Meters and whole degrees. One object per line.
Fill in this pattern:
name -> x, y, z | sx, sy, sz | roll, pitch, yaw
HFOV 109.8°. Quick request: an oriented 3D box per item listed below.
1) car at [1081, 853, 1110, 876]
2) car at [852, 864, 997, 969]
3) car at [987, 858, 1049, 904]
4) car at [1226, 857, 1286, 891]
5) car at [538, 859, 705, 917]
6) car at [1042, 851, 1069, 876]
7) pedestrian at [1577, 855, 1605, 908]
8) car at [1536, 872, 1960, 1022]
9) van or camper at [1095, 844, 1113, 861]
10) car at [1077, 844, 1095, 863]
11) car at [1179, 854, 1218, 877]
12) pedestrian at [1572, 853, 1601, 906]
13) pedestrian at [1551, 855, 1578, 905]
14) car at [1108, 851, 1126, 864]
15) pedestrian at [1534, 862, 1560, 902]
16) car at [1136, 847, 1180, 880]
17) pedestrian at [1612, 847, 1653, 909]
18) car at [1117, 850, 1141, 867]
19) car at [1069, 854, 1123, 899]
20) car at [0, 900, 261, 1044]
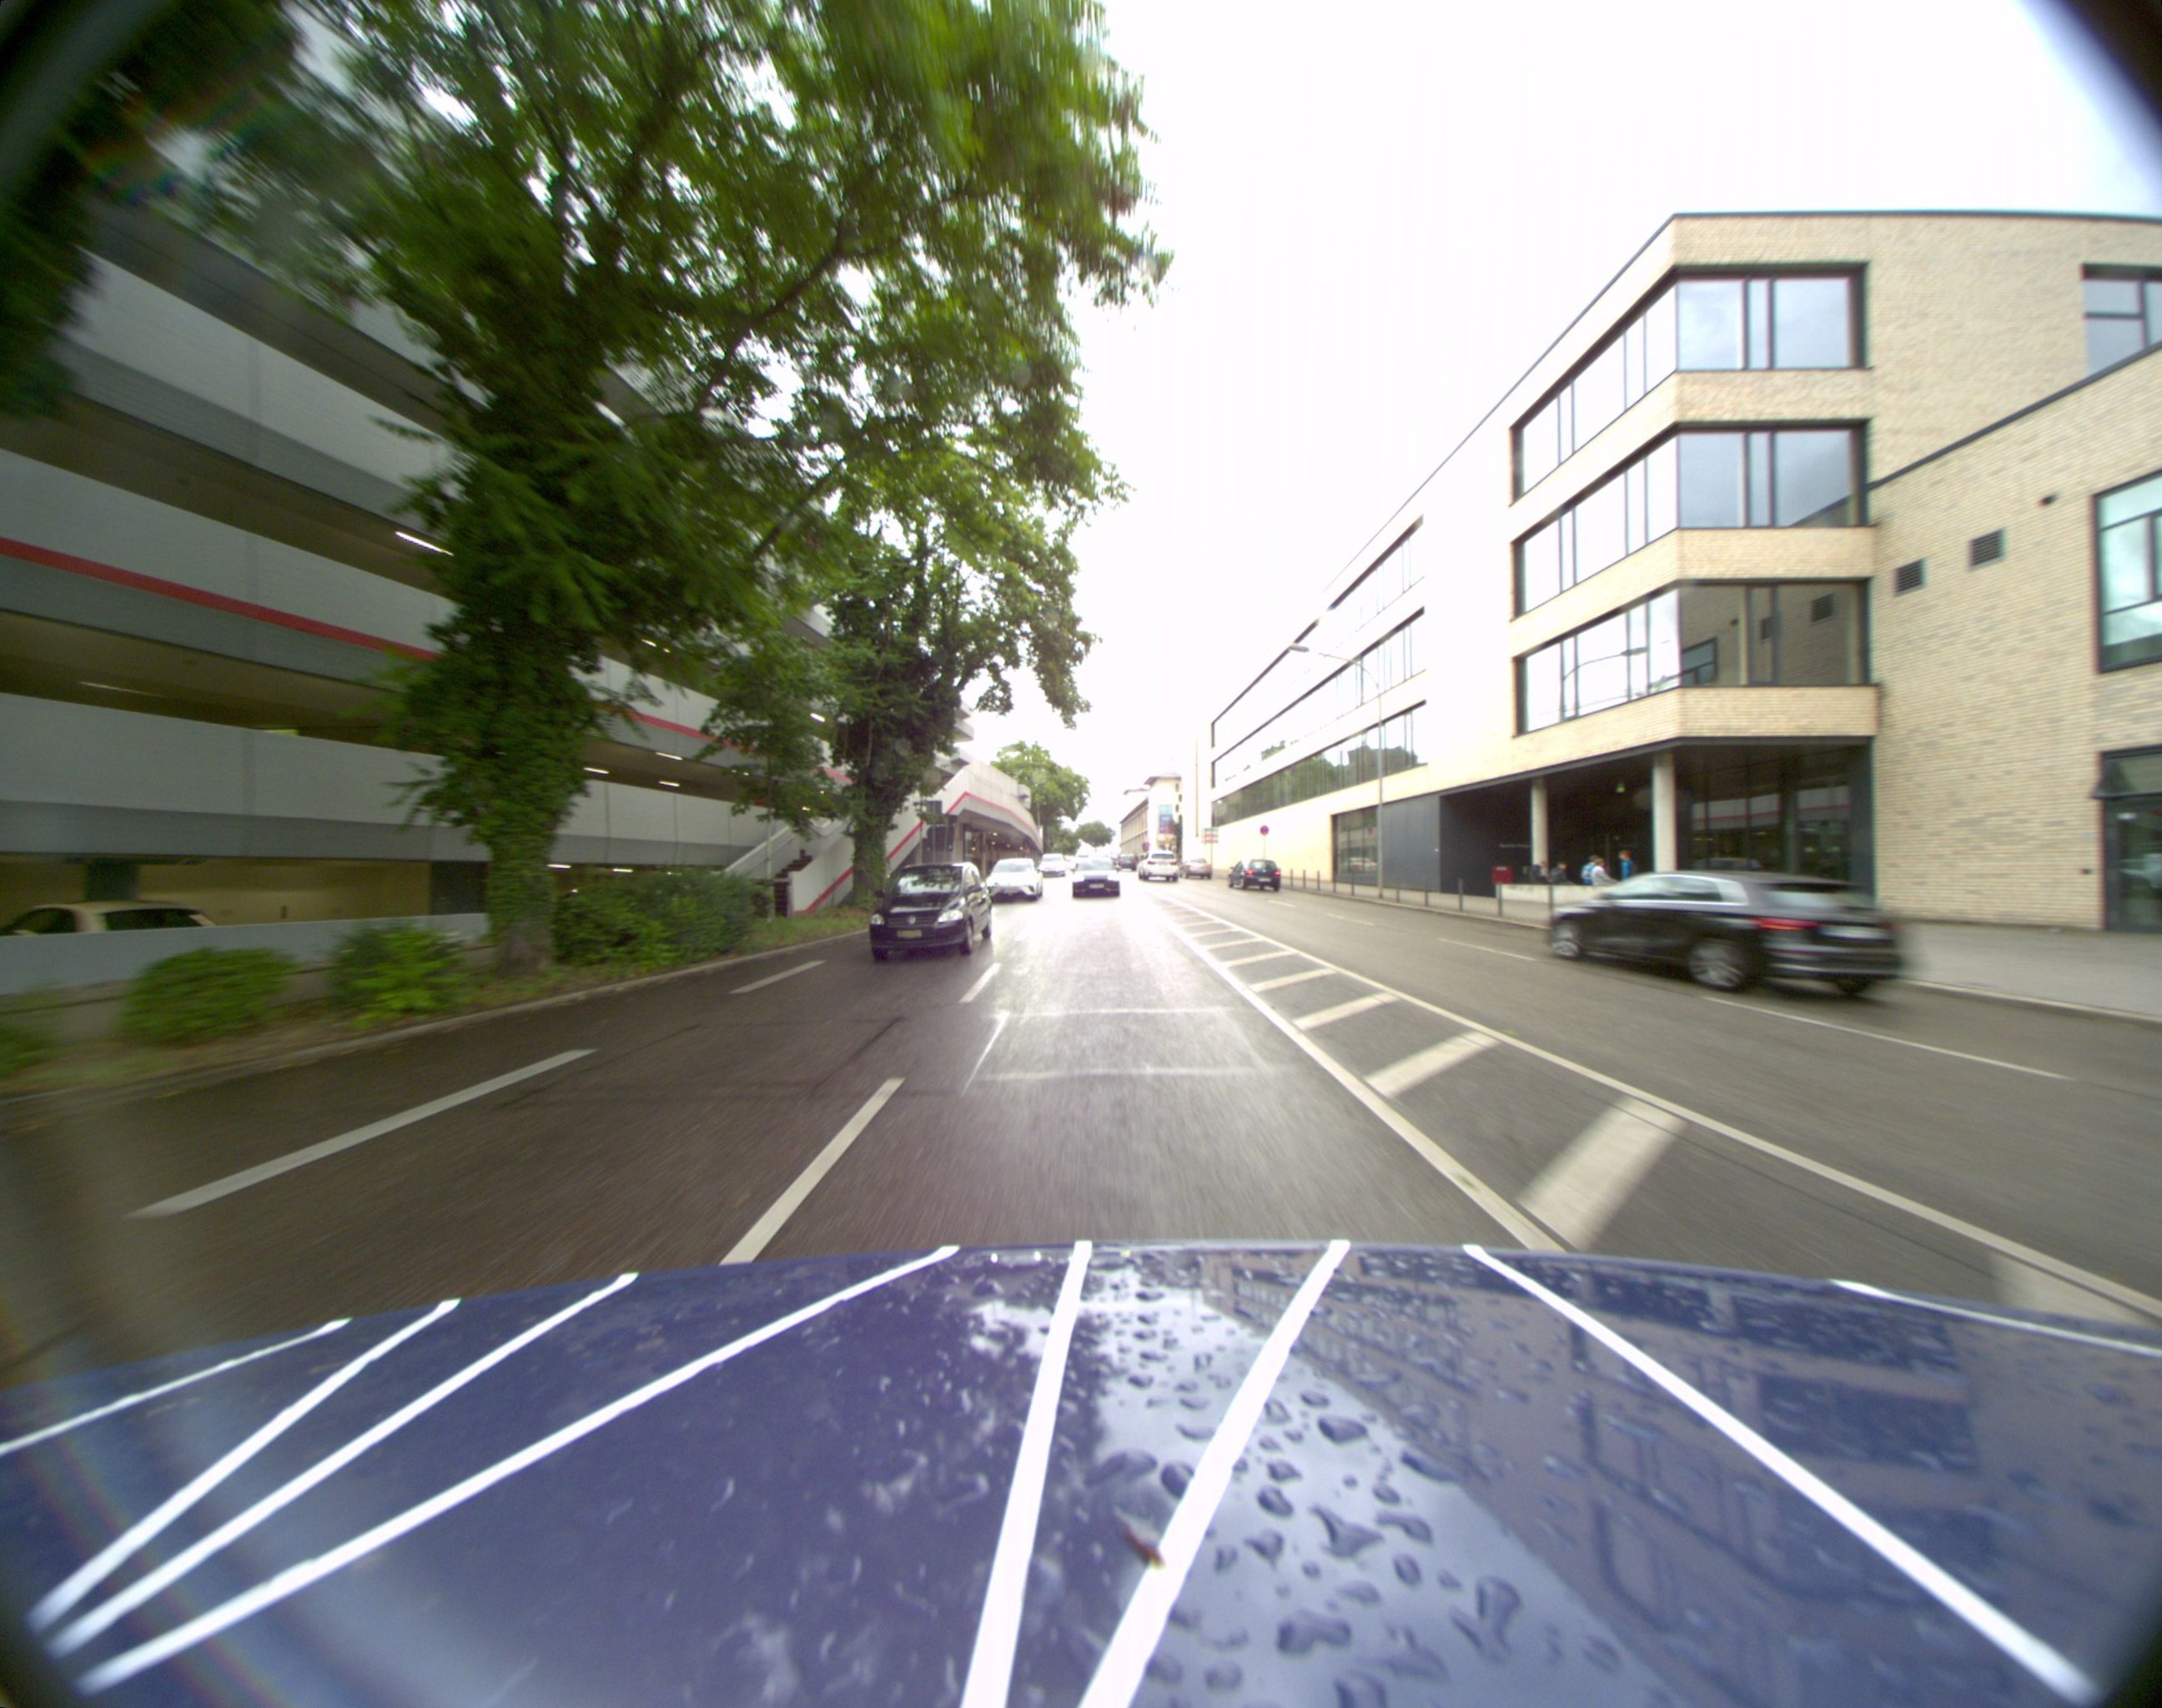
car -> 1.093, 0.714, 55.867 | 1.998, 1.477, 4.000 | -2, 1, 2
car -> -2.630, 0.992, 13.679 | 1.683, 1.516, 3.990 | -2, 0, 1
car -> -2.278, 0.941, 28.313 | 1.915, 1.443, 4.036 | -2, 1, 0
car -> 8.066, 0.899, 35.308 | 1.750, 1.404, 3.970 | 2, 0, -1
car -> -13.111, 0.990, 21.805 | 3.740, 1.530, 1.812 | -1, -3, 6
car -> -1.817, 0.645, 55.332 | 1.727, 1.628, 3.999 | -2, 1, 1
pedestrian -> 14.502, 0.783, 21.615 | 0.450, 1.467, 0.463 | -2, 2, -4
car -> 8.159, 1.013, 9.956 | 1.737, 1.386, 4.198 | 2, 0, -2
van or camper -> 3.702, -0.246, 122.572 | 2.108, 2.567, 5.903 | 1, 1, -7
car -> 0.552, -0.103, 87.556 | 1.998, 2.002, 3.999 | -2, 1, 0
car -> 7.867, 0.744, 51.222 | 1.834, 1.380, 4.229 | 2, 0, -1
pedestrian -> 14.500, 0.728, 21.800 | 0.442, 1.467, 0.528 | -2, 2, -4
pedestrian -> 14.400, 0.764, 22.634 | 0.450, 1.467, 0.463 | -2, 2, -4
car -> 4.421, 0.371, 93.138 | 1.888, 1.489, 4.561 | 1, 1, -2
pedestrian -> 14.423, 0.858, 23.518 | 0.550, 1.208, 0.422 | -2, 2, 3
car -> 4.459, 0.508, 44.533 | 1.896, 1.801, 4.573 | 2, 0, -2
pedestrian -> 15.633, 0.654, 21.553 | 0.636, 1.704, 0.705 | -2, 1, 0
car -> 4.433, 0.359, 70.562 | 1.816, 1.454, 4.287 | 2, 1, -2
car -> 0.555, 0.794, 28.501 | 1.852, 1.516, 3.990 | -2, 0, 1
car -> -14.538, 1.616, 11.199 | 3.460, 1.772, 1.817 | -1, 0, 13
